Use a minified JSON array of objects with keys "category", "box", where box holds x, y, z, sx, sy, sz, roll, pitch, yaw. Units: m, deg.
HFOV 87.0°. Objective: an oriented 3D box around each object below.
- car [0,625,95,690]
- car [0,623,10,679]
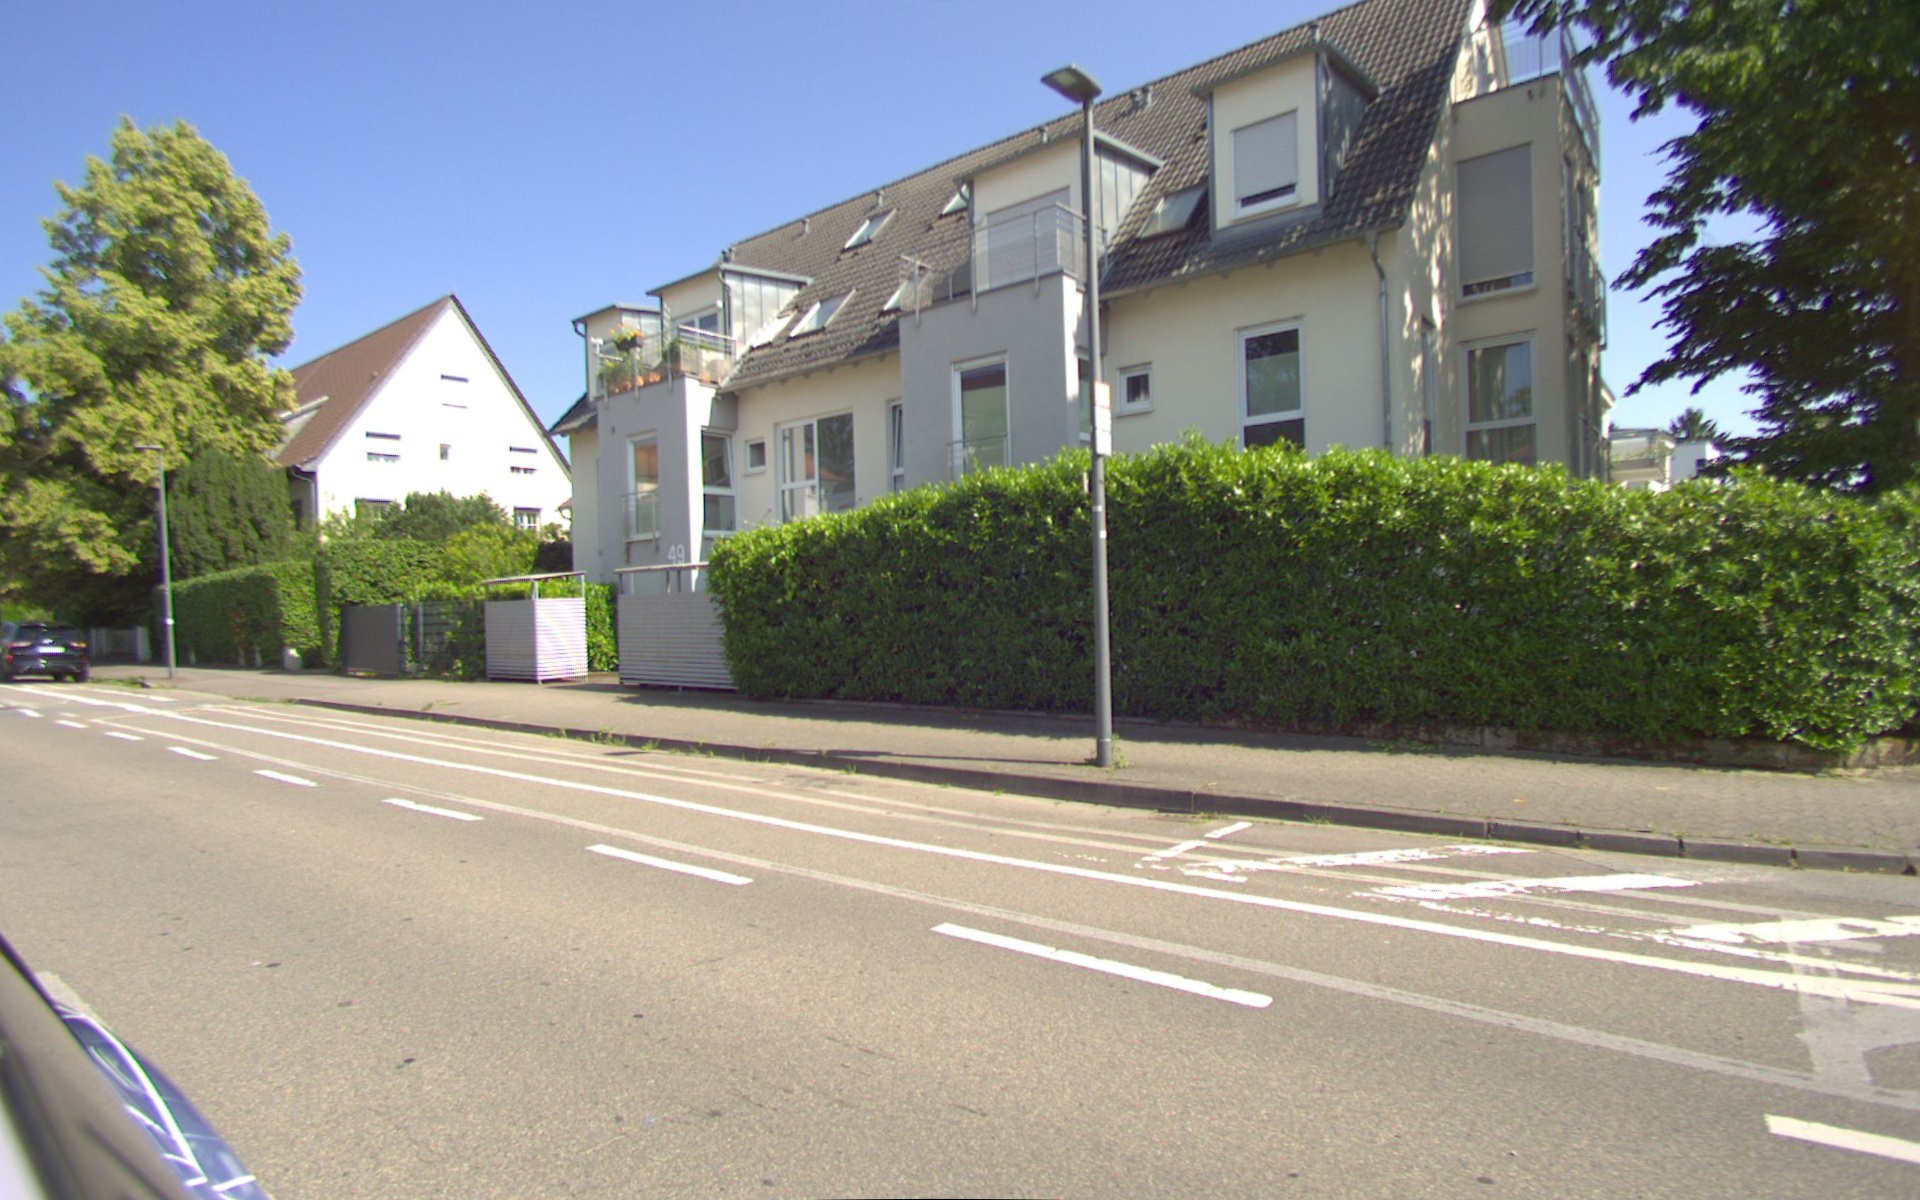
[{"category":"car","box":[-25.353,1.523,27.603,4.441,1.623,1.833,-2,-2,38]},{"category":"car","box":[-35.589,1.851,36.043,4.862,1.934,1.866,-3,-2,38]}]
